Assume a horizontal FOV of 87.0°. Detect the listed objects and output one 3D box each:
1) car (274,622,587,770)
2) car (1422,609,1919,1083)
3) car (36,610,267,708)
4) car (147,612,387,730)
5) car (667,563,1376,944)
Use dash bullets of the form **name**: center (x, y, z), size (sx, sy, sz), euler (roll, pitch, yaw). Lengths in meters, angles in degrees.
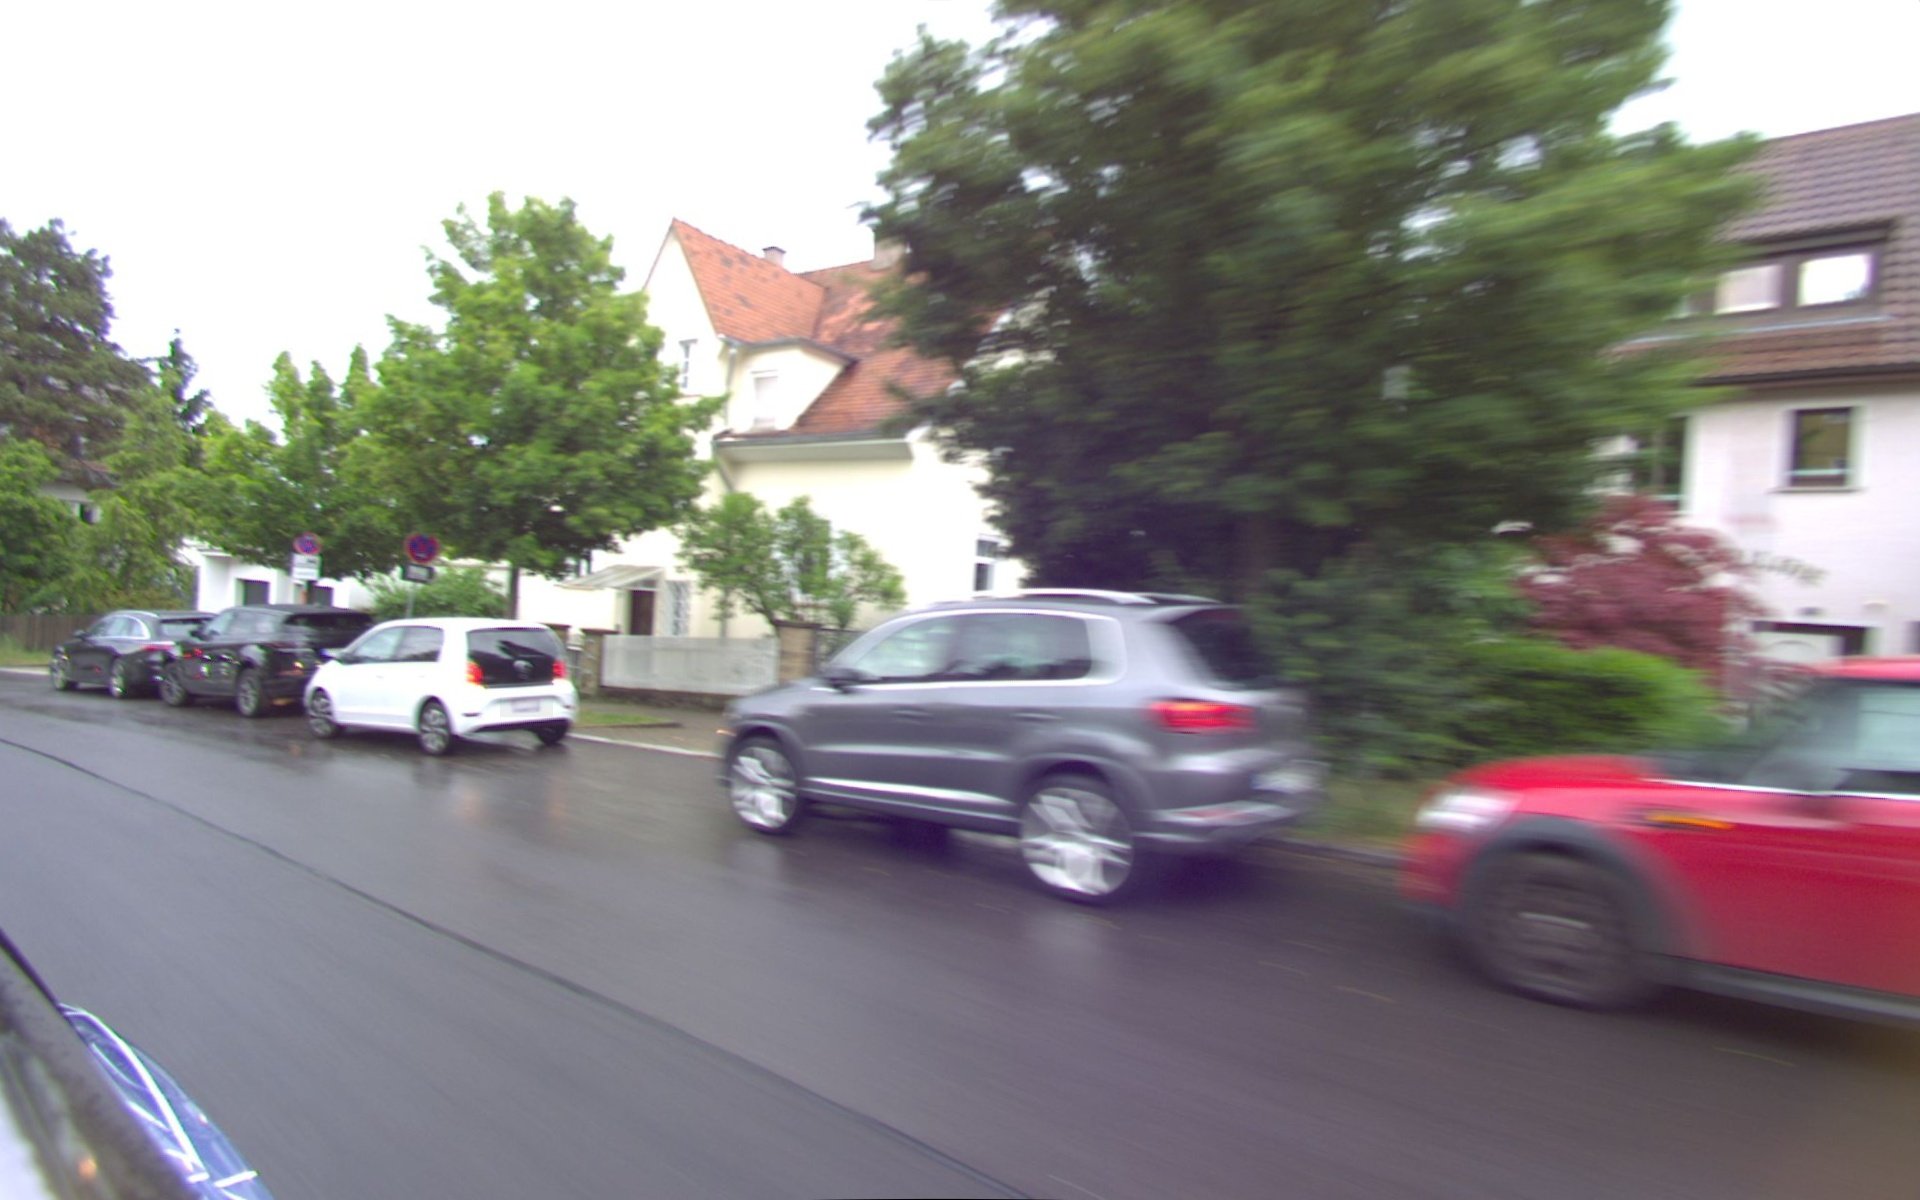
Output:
- **car**: center (-6.418, 1.021, 12.130), size (3.991, 1.478, 1.718), euler (-1, -1, 36)
- **car**: center (3.892, 0.797, 3.518), size (3.864, 1.483, 1.664), euler (-1, -3, 42)
- **car**: center (-14.783, 0.965, 18.424), size (4.890, 1.557, 1.852), euler (0, -1, 33)
- **car**: center (-10.685, 0.978, 15.514), size (4.201, 1.557, 1.718), euler (0, -1, 36)
- **car**: center (0.157, 0.736, 6.604), size (4.422, 1.681, 1.782), euler (-1, -3, 40)
